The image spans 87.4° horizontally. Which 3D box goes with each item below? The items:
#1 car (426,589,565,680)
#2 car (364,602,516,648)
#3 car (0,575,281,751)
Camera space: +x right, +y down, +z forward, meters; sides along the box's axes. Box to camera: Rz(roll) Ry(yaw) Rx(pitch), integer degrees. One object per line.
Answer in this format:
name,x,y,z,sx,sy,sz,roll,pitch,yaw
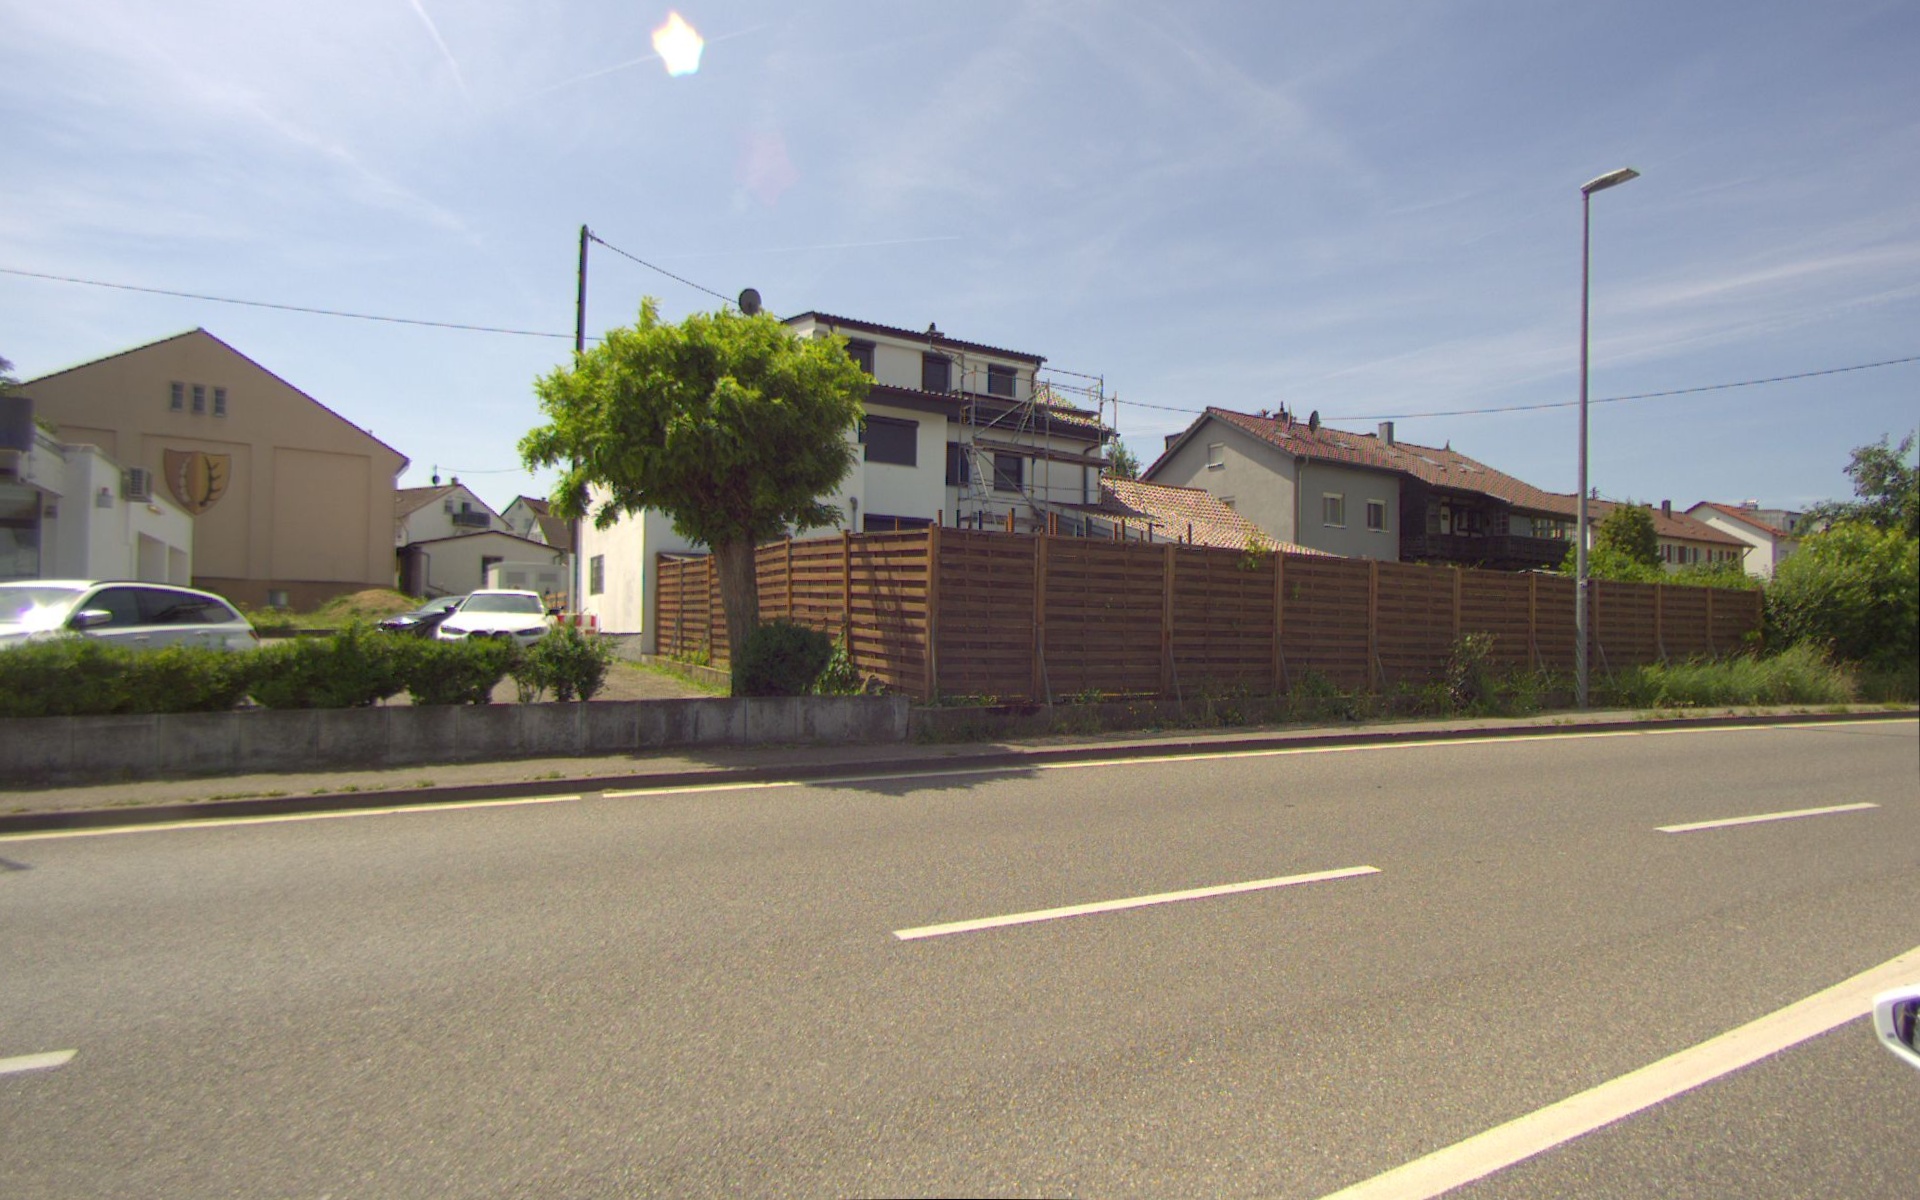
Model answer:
car,-8.673,0.586,19.082,1.805,1.530,3.985,1,0,-17
car,-15.780,0.714,30.709,1.756,1.238,3.999,2,1,21
car,-9.126,0.506,10.146,1.822,1.467,4.339,2,0,-5
